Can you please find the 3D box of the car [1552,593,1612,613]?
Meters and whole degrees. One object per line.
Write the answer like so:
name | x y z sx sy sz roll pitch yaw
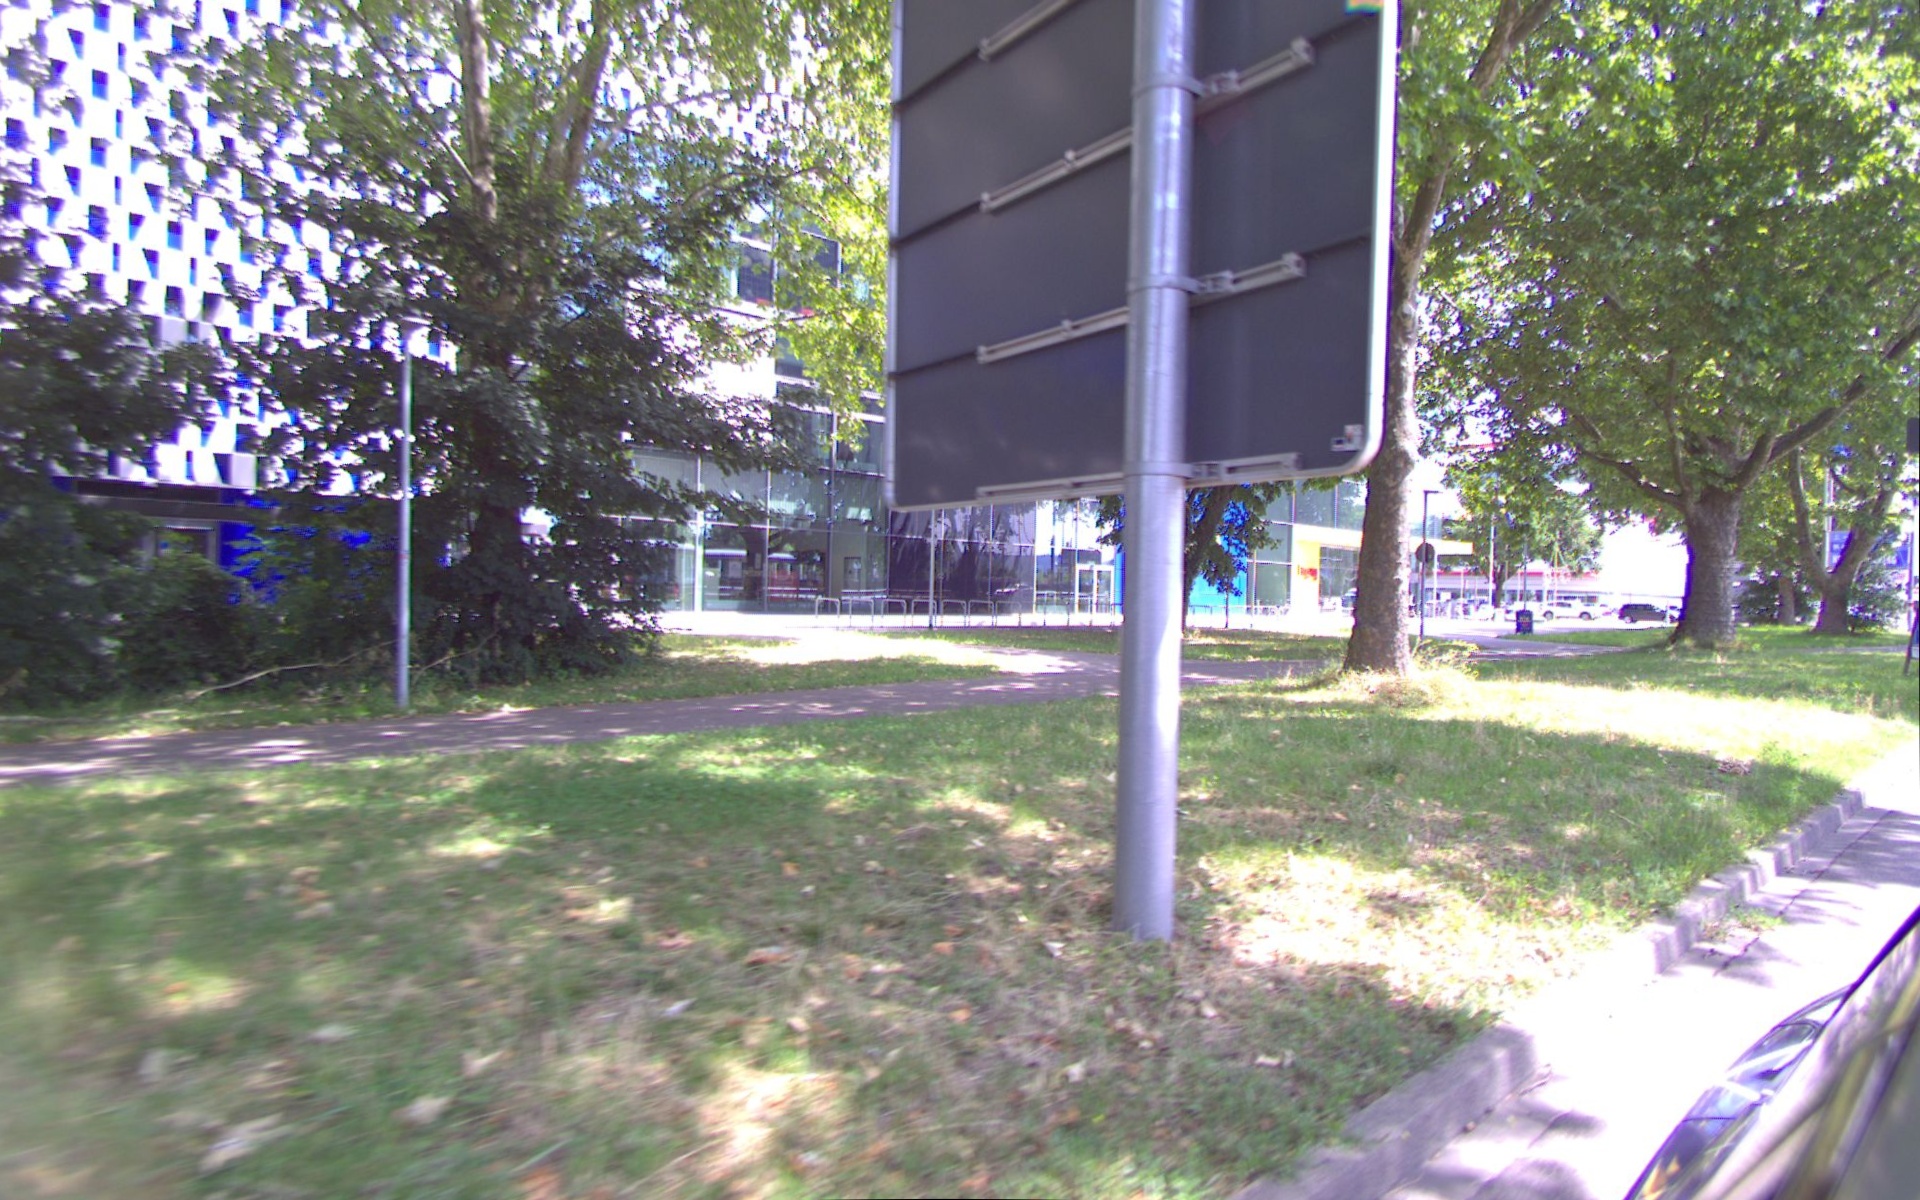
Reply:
car | 54.077 0.234 88.001 1.965 1.660 4.075 0 1 -41

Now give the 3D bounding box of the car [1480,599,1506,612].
car | 69.286 0.717 131.476 3.933 1.566 1.850 0 0 -44

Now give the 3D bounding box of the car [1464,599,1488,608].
car | 75.823 0.447 148.626 3.928 1.327 1.692 0 0 -39

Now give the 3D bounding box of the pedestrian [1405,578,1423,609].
pedestrian | 29.694 -0.431 66.140 0.718 2.039 0.801 1 0 -28

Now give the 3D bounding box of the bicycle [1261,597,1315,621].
bicycle | 14.107 0.385 43.541 0.854 0.981 2.062 1 0 -43

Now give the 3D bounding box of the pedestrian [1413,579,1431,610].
pedestrian | 30.401 -0.345 66.572 0.718 2.039 0.800 1 0 -32

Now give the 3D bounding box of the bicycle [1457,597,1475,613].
bicycle | 36.698 0.354 73.411 0.798 1.159 2.401 1 0 36

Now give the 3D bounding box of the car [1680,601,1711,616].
car | 92.676 1.046 127.455 4.420 1.739 1.998 -1 0 -38

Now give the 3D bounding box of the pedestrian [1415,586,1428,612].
pedestrian | 30.393 -0.045 66.646 0.574 1.693 0.608 0 0 -29

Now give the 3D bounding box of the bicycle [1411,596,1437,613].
bicycle | 34.544 0.304 75.307 2.390 1.214 0.801 -1 0 -40
